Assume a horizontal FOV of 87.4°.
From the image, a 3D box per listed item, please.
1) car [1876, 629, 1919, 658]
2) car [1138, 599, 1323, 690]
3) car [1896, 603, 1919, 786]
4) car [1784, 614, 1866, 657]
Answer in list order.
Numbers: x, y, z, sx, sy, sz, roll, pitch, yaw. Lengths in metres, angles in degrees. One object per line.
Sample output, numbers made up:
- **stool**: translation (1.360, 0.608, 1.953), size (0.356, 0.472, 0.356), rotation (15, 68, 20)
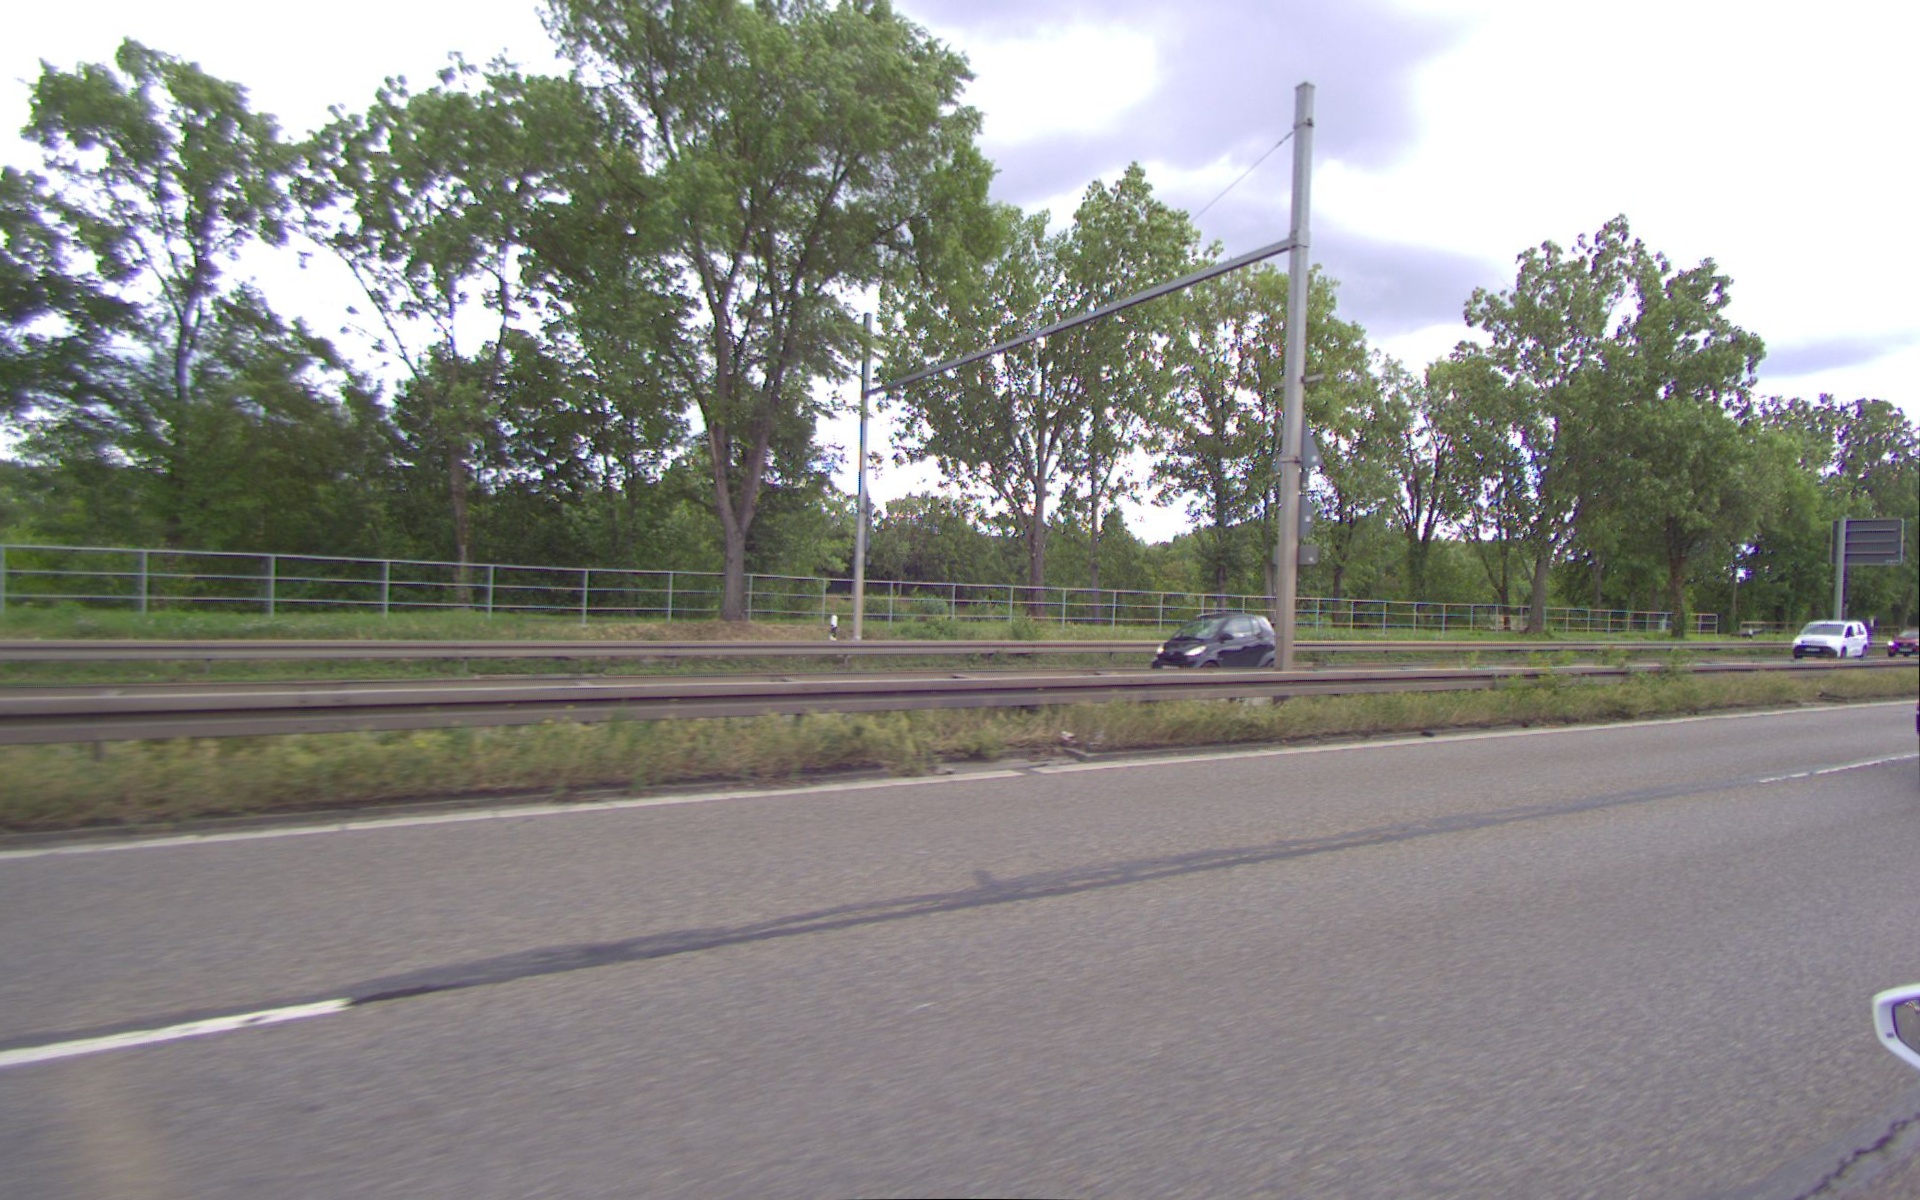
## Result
- **car**: translation (51.642, 2.361, 54.513), size (4.332, 1.484, 1.708), rotation (2, 0, -32)
- **car**: translation (5.833, 0.921, 21.600), size (3.697, 1.798, 1.718), rotation (2, 0, -30)
- **car**: translation (10.986, 0.919, 9.865), size (3.956, 1.708, 1.688), rotation (1, -1, -32)
- **car**: translation (40.228, 1.641, 46.680), size (4.511, 1.909, 1.602), rotation (2, 0, -32)
